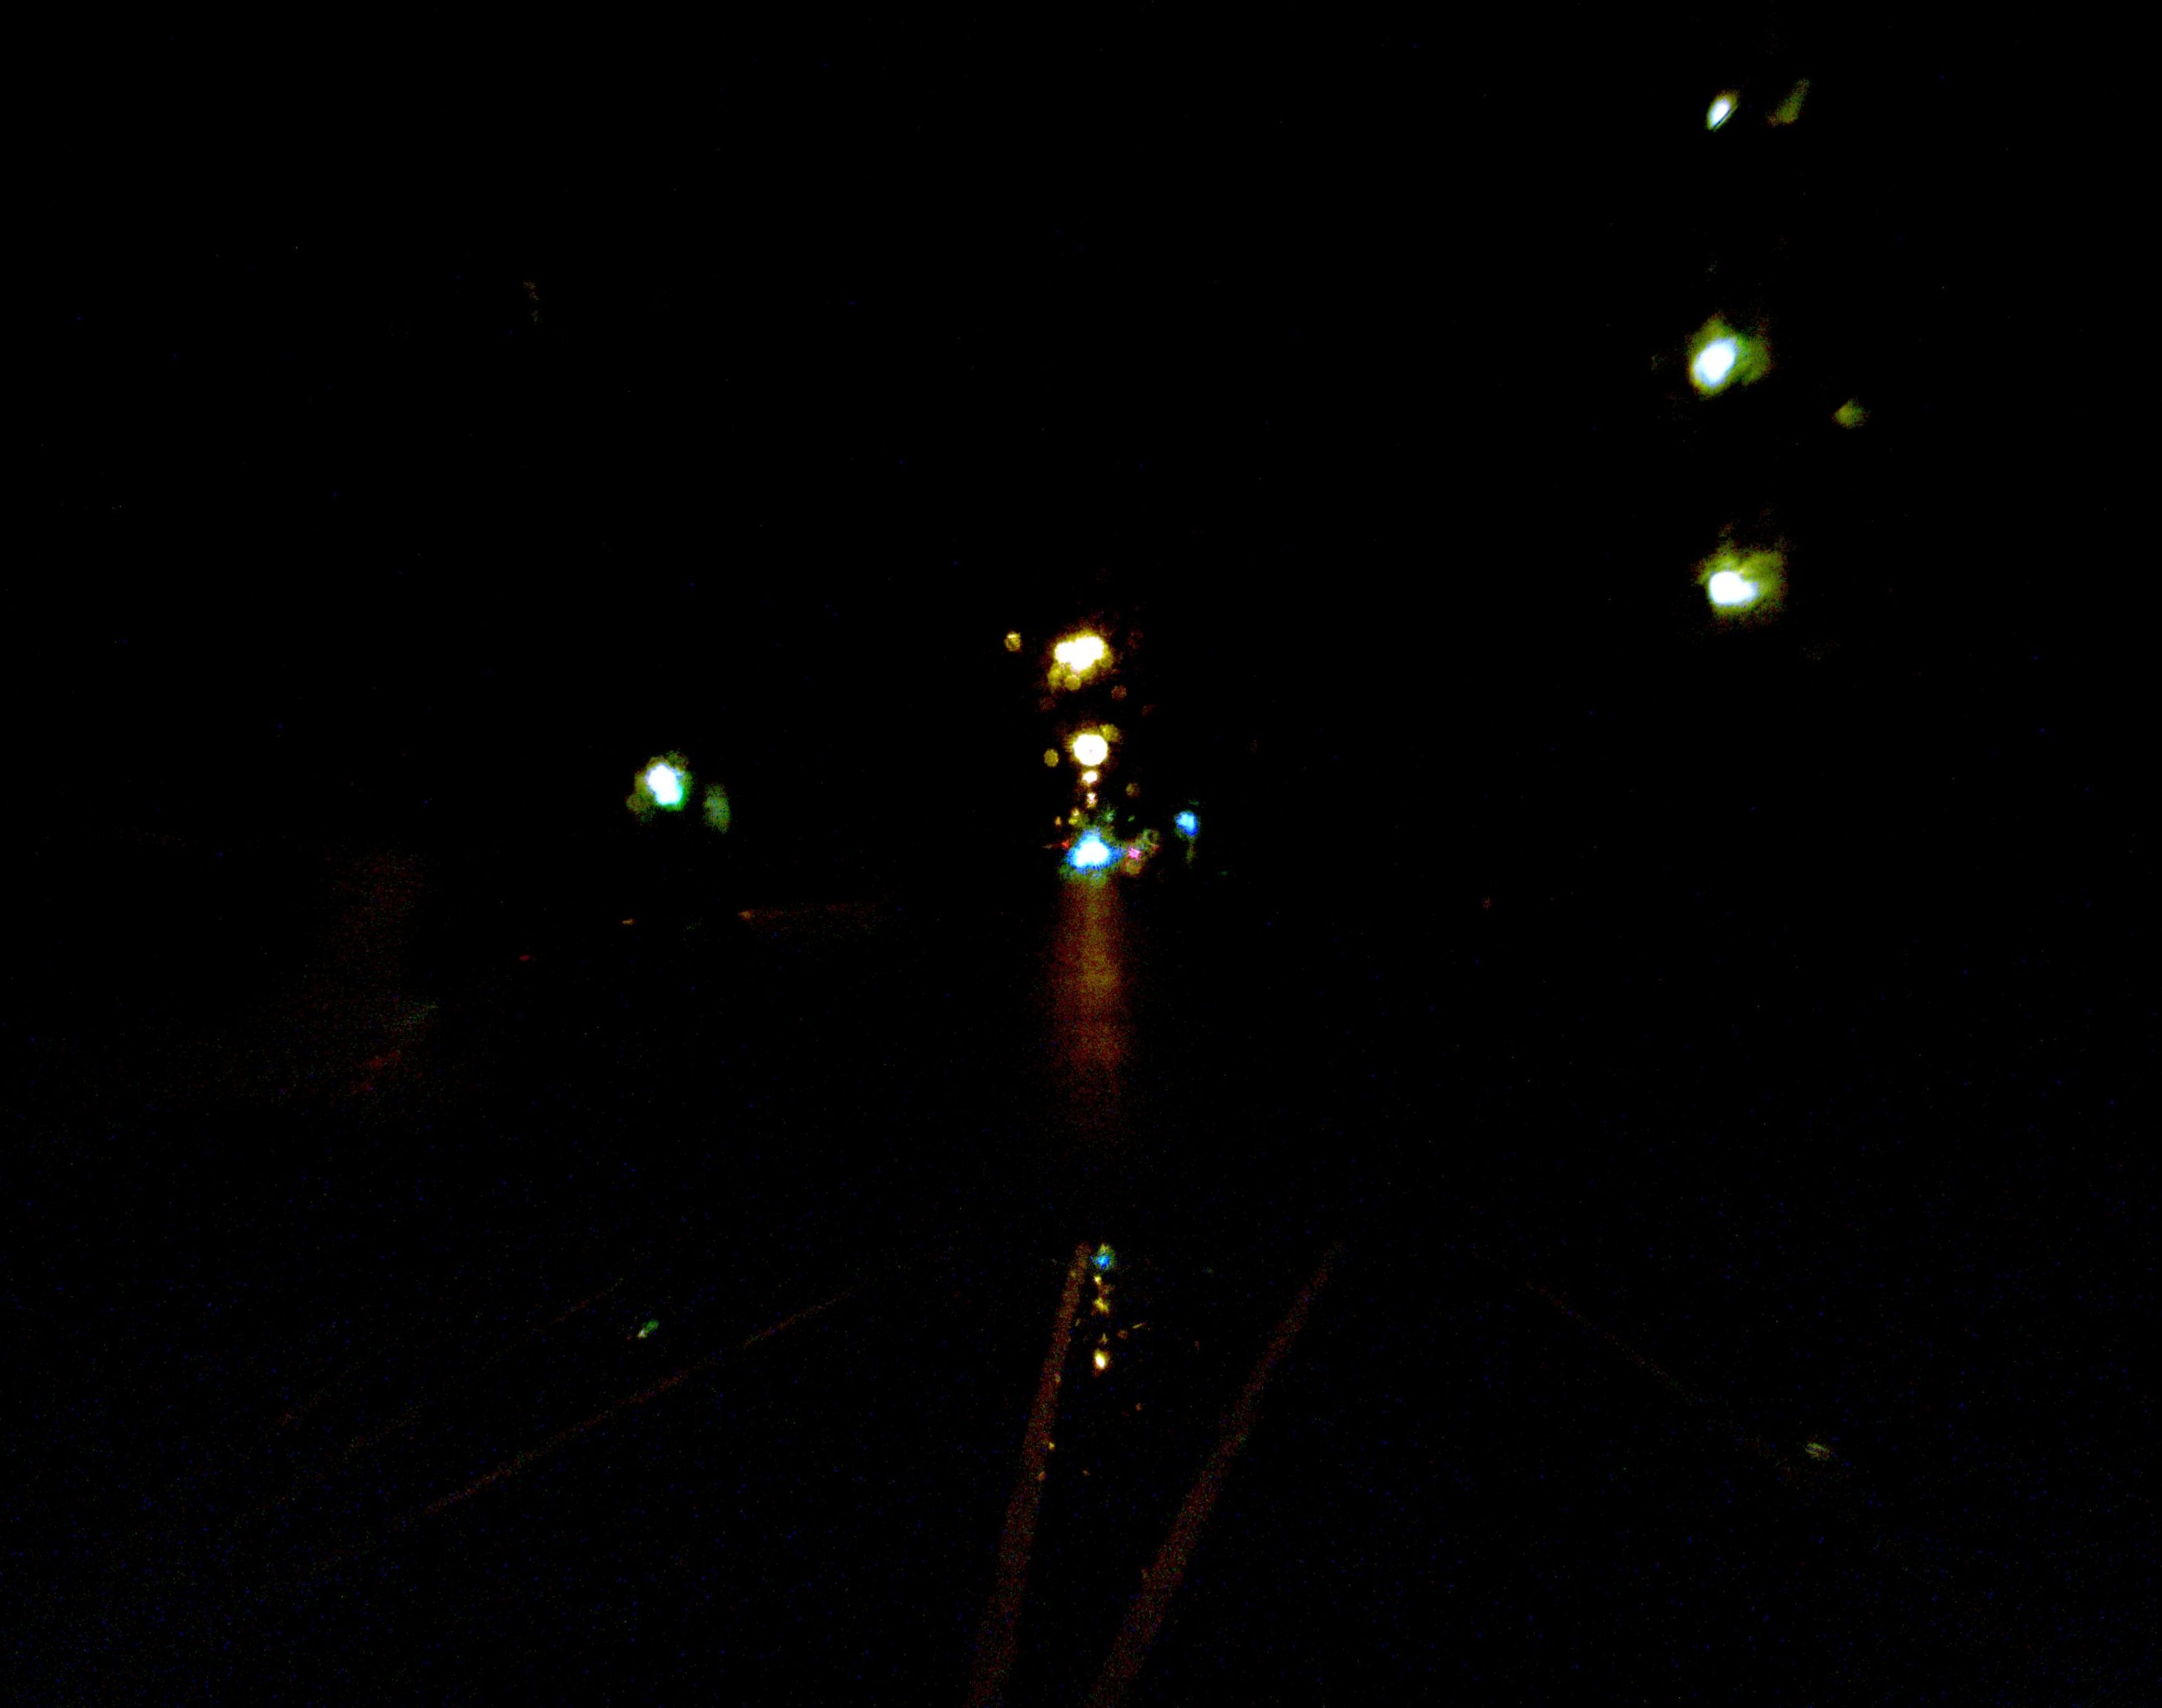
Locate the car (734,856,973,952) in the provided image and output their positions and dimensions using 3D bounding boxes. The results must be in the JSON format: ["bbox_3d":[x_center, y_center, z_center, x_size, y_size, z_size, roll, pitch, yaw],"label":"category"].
[{"bbox_3d":[-3.956,0.796,13.348,3.712,1.444,1.654,1,1,-31],"label":"car"}]

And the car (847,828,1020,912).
[{"bbox_3d":[-3.713,0.383,19.394,3.942,1.931,1.738,1,1,-36],"label":"car"}]

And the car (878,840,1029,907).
[{"bbox_3d":[-3.666,0.532,22.111,3.942,1.782,1.738,1,1,-36],"label":"car"}]

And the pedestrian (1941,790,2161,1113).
[{"bbox_3d":[6.366,0.535,4.788,0.676,1.822,1.078,-2,1,3],"label":"pedestrian"}]

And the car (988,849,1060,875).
[{"bbox_3d":[-3.382,0.455,45.243,3.939,1.455,1.707,1,1,-22],"label":"car"}]

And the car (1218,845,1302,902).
[{"bbox_3d":[5.107,0.512,22.172,1.720,1.470,3.786,-2,1,3],"label":"car"}]

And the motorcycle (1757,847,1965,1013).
[{"bbox_3d":[7.562,0.669,7.460,0.538,1.462,1.457,-2,1,1],"label":"motorcycle"}]

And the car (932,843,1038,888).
[{"bbox_3d":[-3.897,0.465,30.789,3.938,1.732,1.707,1,1,-21],"label":"car"}]

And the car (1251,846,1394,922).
[{"bbox_3d":[5.192,0.566,16.943,1.721,1.470,4.158,-1,1,-2],"label":"car"}]

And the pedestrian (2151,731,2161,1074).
[{"bbox_3d":[7.414,0.318,4.410,0.801,2.228,1.116,0,1,0],"label":"pedestrian"}]

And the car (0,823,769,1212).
[{"bbox_3d":[-4.149,0.721,4.734,3.800,1.702,1.744,1,1,-33],"label":"car"}]

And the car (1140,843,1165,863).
[{"bbox_3d":[6.298,-0.107,66.880,1.851,1.571,3.734,-2,1,1],"label":"car"}]

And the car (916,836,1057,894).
[{"bbox_3d":[-3.446,0.401,27.885,4.719,1.969,1.974,1,1,-28],"label":"car"}]

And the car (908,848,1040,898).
[{"bbox_3d":[-3.510,0.607,25.141,3.941,1.541,1.738,1,1,-33],"label":"car"}]

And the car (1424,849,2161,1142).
[{"bbox_3d":[4.934,0.726,6.458,1.851,1.470,5.030,-1,1,1],"label":"car"}]

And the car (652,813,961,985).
[{"bbox_3d":[-3.780,0.540,10.644,3.747,2.017,1.717,1,1,-34],"label":"car"}]

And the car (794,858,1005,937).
[{"bbox_3d":[-3.832,0.833,16.280,4.064,1.444,1.674,-1,1,-34],"label":"car"}]

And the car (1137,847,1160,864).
[{"bbox_3d":[6.399,0.131,72.610,1.851,1.571,3.734,-2,1,1],"label":"car"}]

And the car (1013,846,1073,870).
[{"bbox_3d":[-2.702,0.281,53.997,3.939,1.553,1.707,1,1,-22],"label":"car"}]

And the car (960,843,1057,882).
[{"bbox_3d":[-3.227,0.379,33.592,3.938,1.610,1.707,1,1,-21],"label":"car"}]

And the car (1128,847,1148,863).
[{"bbox_3d":[5.991,0.086,80.126,1.851,1.571,3.734,-2,1,1],"label":"car"}]

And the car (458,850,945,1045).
[{"bbox_3d":[-3.692,0.798,7.966,4.078,1.588,1.830,1,1,-27],"label":"car"}]

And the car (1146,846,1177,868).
[{"bbox_3d":[5.835,0.170,55.153,1.851,1.470,3.734,-2,1,1],"label":"car"}]

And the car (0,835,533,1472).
[{"bbox_3d":[-4.039,0.786,2.328,3.747,1.702,1.767,1,1,-33],"label":"car"}]
